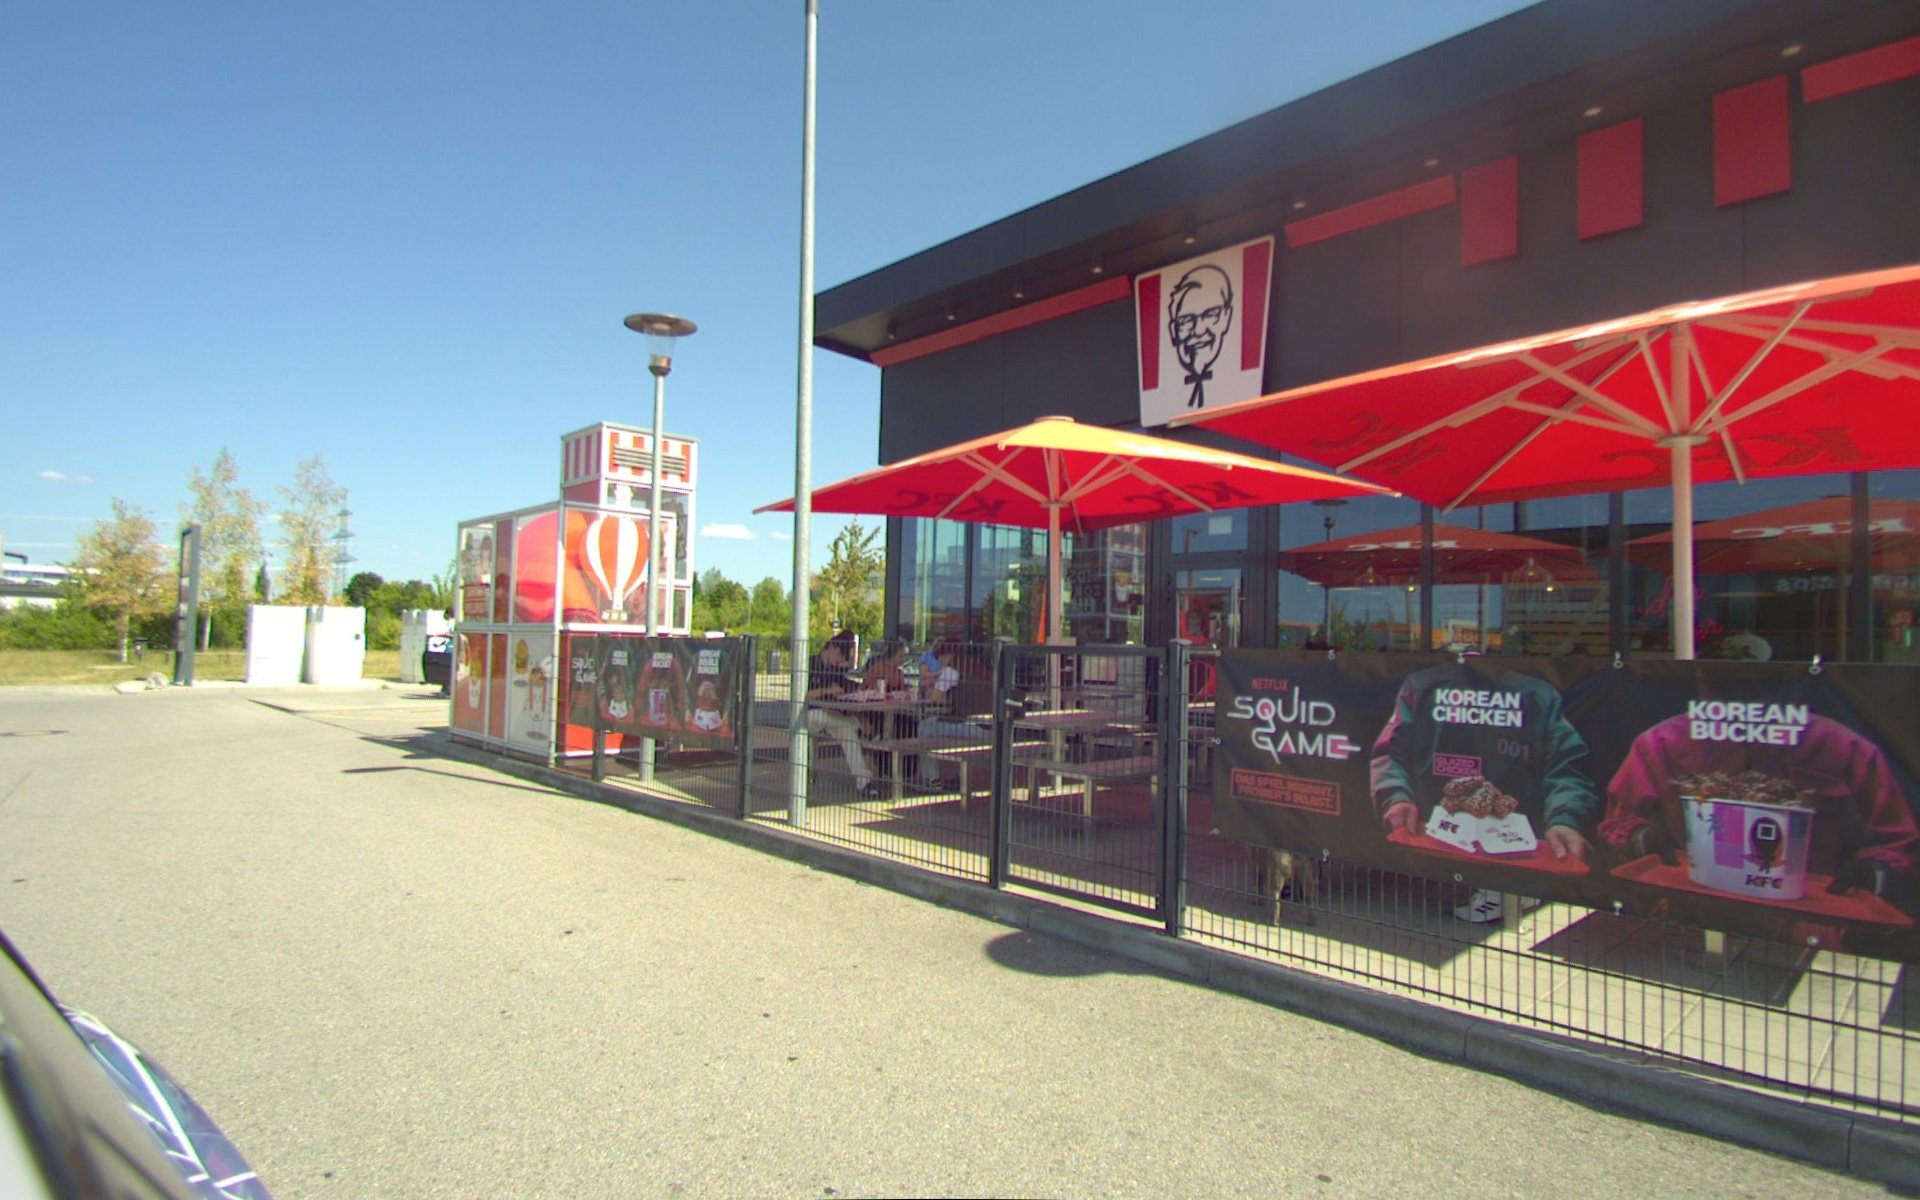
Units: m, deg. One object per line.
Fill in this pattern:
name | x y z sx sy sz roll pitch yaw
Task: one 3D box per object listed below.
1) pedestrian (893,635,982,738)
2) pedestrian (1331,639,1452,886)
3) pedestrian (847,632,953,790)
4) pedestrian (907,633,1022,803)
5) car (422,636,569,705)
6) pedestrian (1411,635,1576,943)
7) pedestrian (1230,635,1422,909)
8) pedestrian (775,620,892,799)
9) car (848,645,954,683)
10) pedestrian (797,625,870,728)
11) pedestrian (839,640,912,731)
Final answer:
pedestrian | -0.309 1.129 13.552 0.744 1.322 0.946 3 -3 -43
pedestrian | 2.456 0.864 5.738 0.549 1.283 0.678 -1 -3 30
pedestrian | -0.533 0.948 8.929 0.654 1.314 0.689 2 -3 -35
pedestrian | 0.033 0.930 8.338 0.654 1.314 0.714 2 -3 -35
car | -10.772 1.568 23.318 1.704 1.422 4.318 3 -3 -44
pedestrian | 2.456 0.807 4.672 0.622 1.283 0.607 -1 -3 30
pedestrian | 1.923 0.831 5.300 0.838 1.283 0.678 -1 -3 30
pedestrian | -1.062 0.878 8.465 0.654 1.398 0.810 2 -3 -35
car | -2.610 2.862 45.408 4.367 1.538 2.220 3 -2 -44
pedestrian | -1.839 1.097 14.770 0.694 1.454 0.786 -2 -3 45
pedestrian | -1.185 1.175 14.156 0.743 1.209 0.695 3 -3 -43
